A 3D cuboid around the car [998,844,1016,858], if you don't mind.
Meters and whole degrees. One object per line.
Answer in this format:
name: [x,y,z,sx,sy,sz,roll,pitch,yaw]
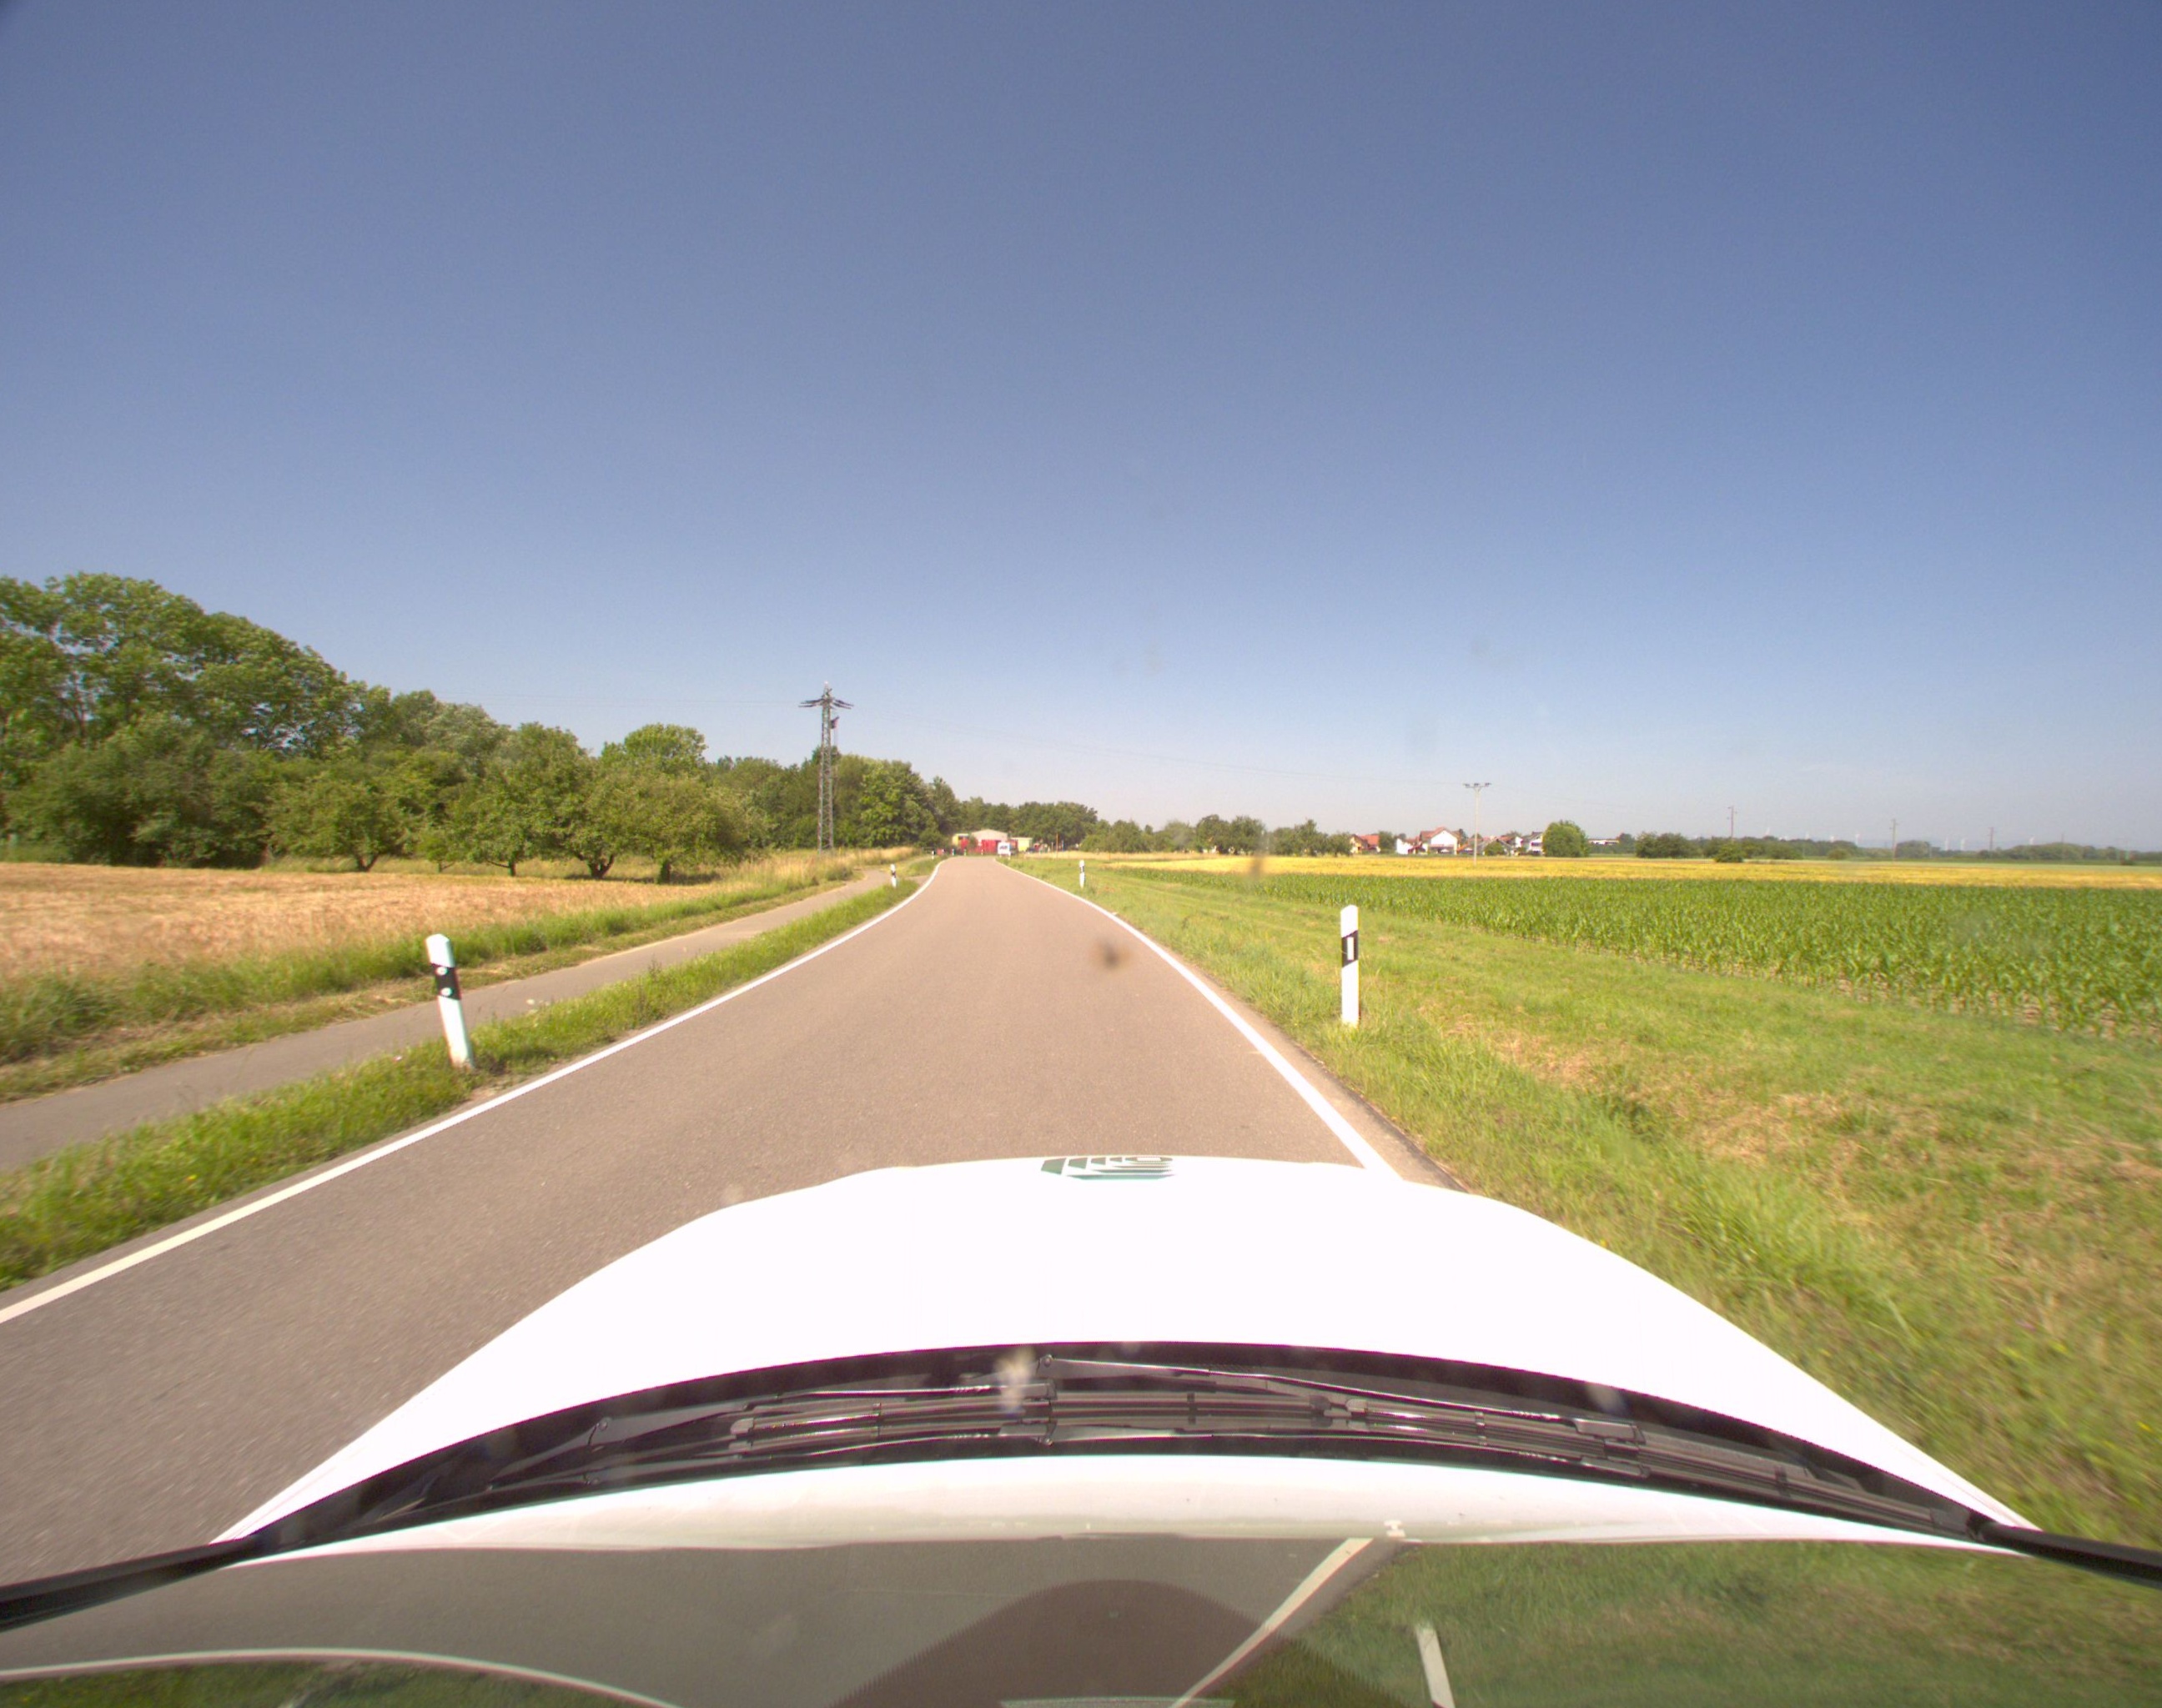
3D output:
car: [-12.224,-0.446,135.245,1.982,2.266,4.737,1,0,8]
